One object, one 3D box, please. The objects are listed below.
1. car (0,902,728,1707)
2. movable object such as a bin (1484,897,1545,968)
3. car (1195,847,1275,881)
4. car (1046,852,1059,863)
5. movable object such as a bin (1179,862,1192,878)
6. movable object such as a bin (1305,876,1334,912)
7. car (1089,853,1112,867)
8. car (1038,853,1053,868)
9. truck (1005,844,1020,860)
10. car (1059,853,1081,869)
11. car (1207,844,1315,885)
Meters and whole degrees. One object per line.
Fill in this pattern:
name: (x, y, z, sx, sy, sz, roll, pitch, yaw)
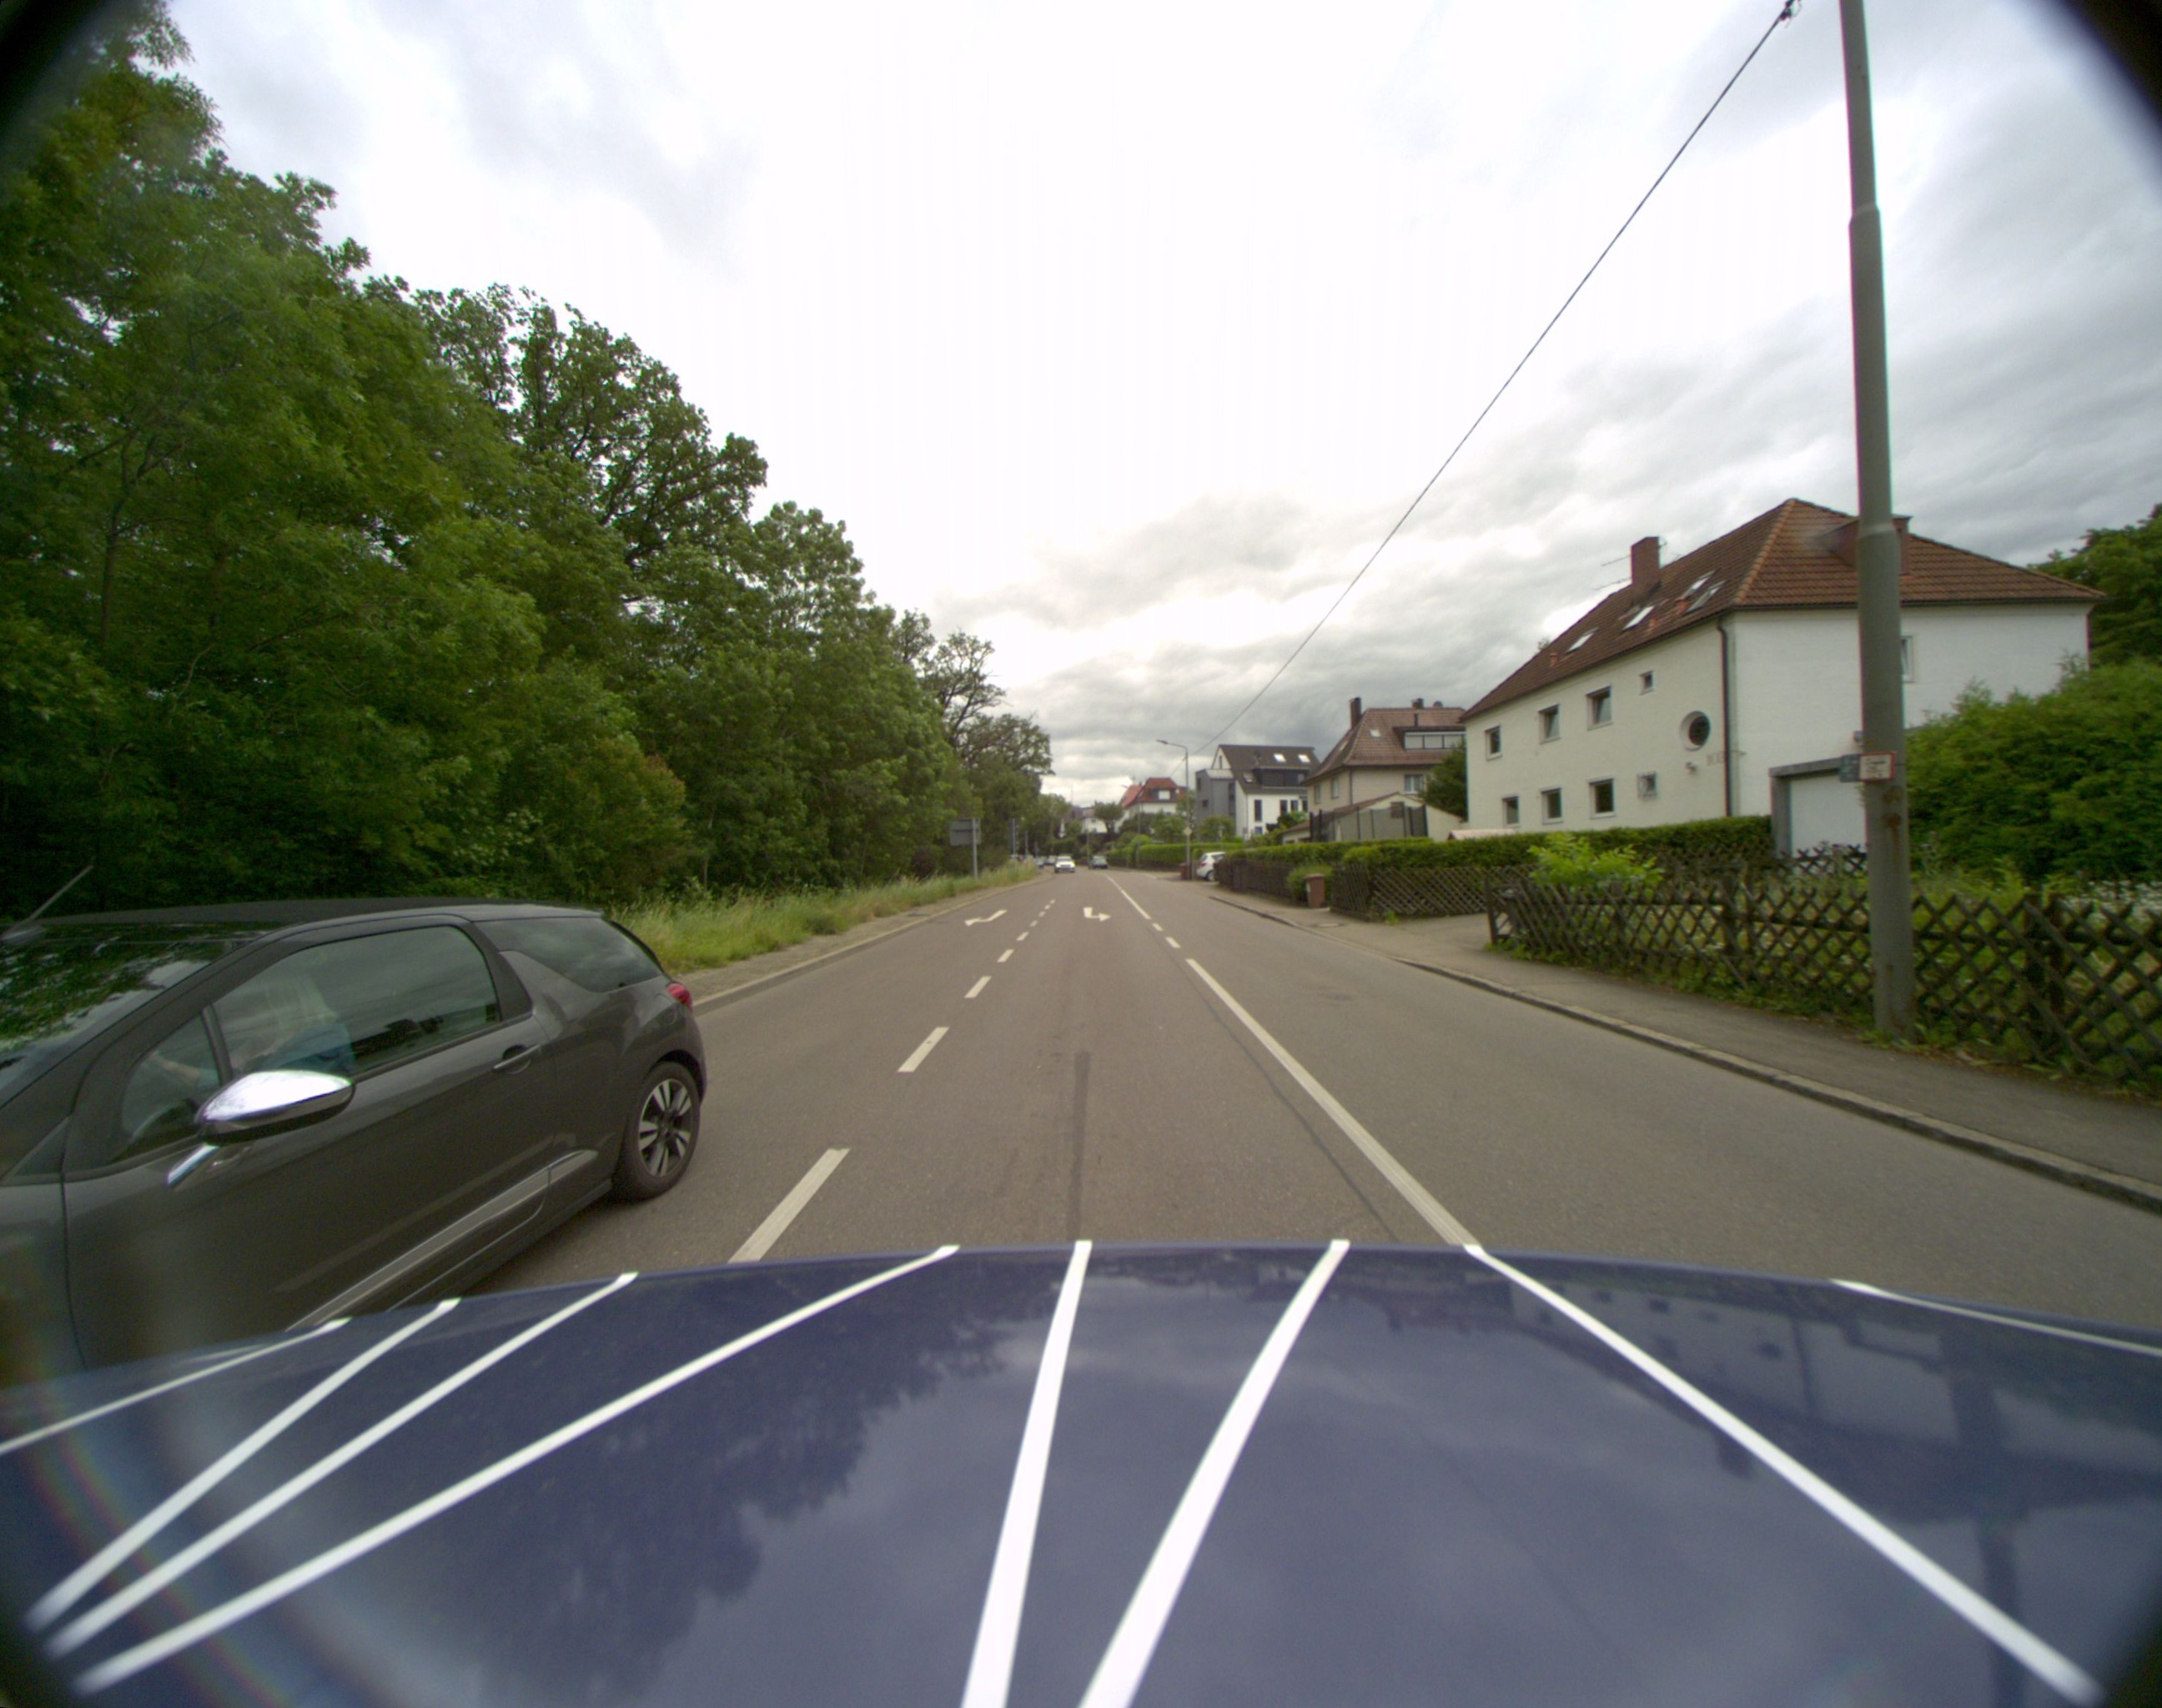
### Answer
car: (-2.856, 1.024, 2.173, 1.730, 1.449, 3.855, -2, 0, 2)
movable object such as a bin: (6.077, 1.090, 10.664, 0.551, 0.933, 0.537, -1, 1, 2)
car: (8.497, 0.546, 42.187, 3.997, 1.584, 1.718, -3, 1, 1)
car: (-4.653, 0.633, 125.110, 1.833, 1.665, 3.996, -1, 2, -7)
movable object such as a bin: (6.238, 0.957, 45.262, 0.689, 0.948, 0.572, -1, 1, 4)
movable object such as a bin: (6.318, 1.049, 20.144, 0.634, 0.907, 0.561, -3, 0, 11)
car: (2.237, 0.674, 87.755, 1.840, 1.514, 3.996, -1, 0, -9)
car: (-4.888, 0.893, 105.158, 1.999, 2.002, 3.999, -1, 0, -3)
truck: (-16.328, -0.466, 181.022, 3.008, 3.618, 7.083, -1, 0, -8)
car: (-1.079, 0.670, 76.652, 1.998, 1.565, 4.000, -1, 0, 2)
car: (8.594, 0.503, 36.630, 4.682, 1.660, 1.882, -3, 1, -1)
